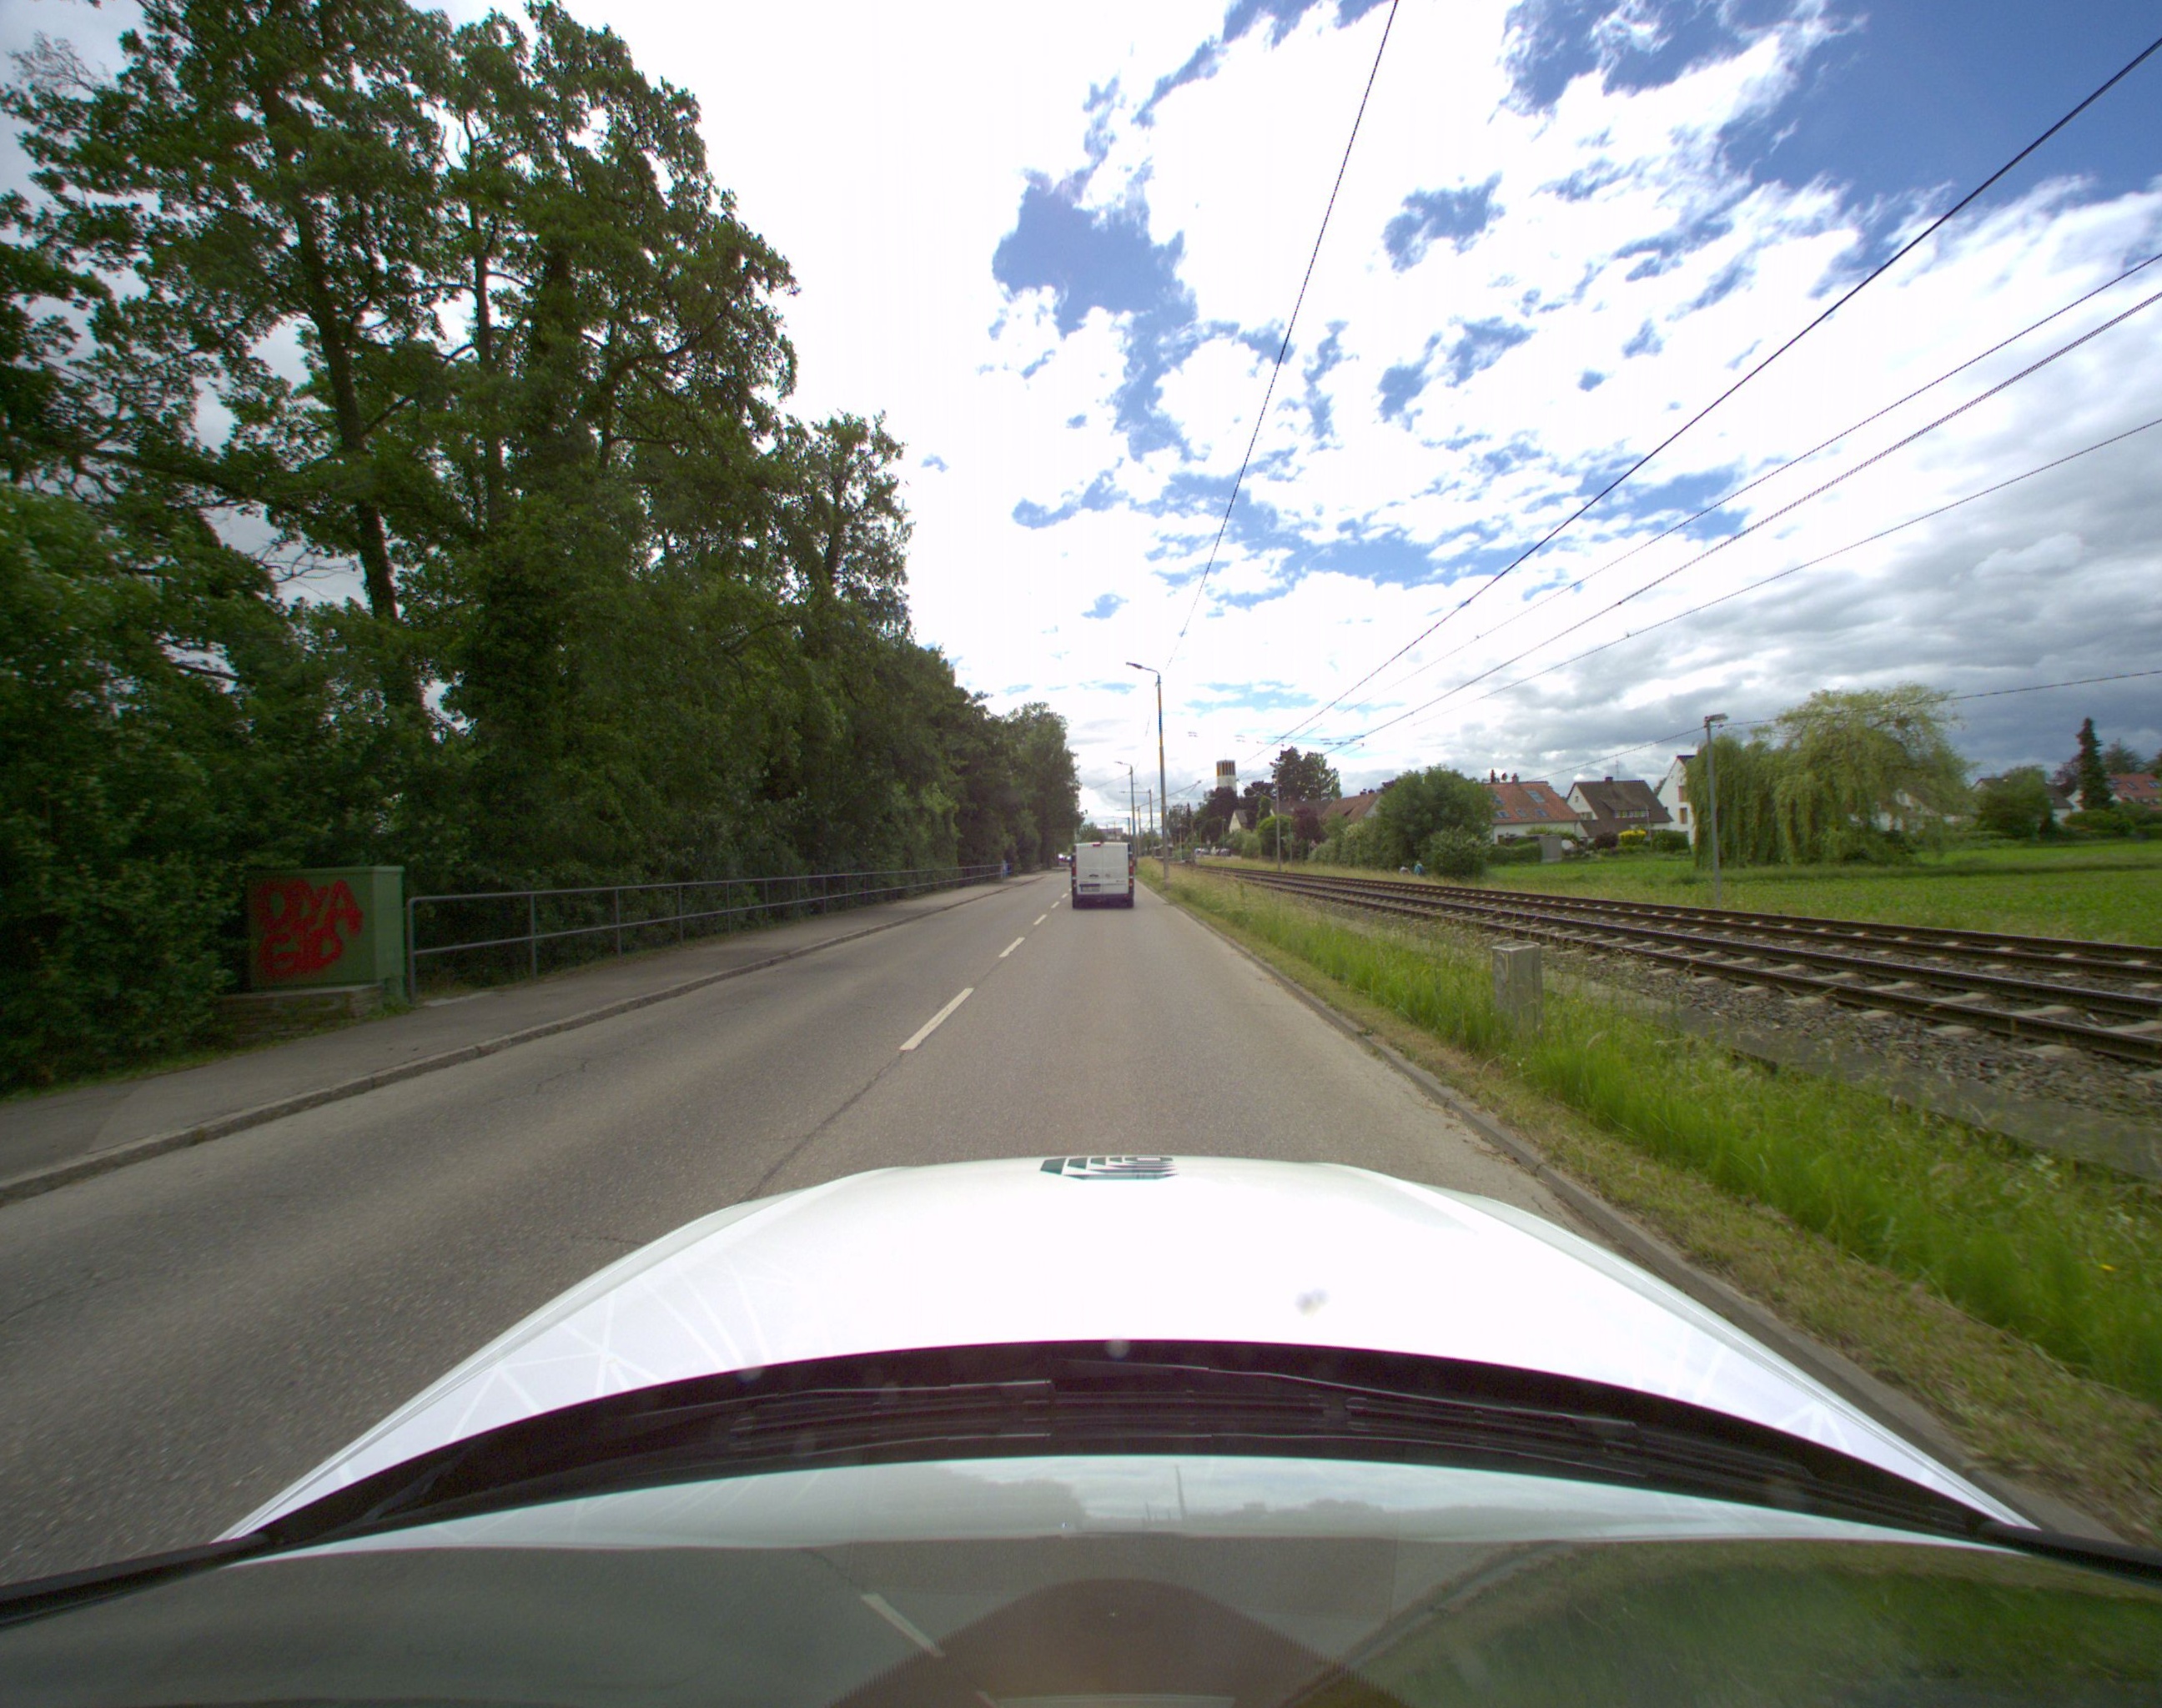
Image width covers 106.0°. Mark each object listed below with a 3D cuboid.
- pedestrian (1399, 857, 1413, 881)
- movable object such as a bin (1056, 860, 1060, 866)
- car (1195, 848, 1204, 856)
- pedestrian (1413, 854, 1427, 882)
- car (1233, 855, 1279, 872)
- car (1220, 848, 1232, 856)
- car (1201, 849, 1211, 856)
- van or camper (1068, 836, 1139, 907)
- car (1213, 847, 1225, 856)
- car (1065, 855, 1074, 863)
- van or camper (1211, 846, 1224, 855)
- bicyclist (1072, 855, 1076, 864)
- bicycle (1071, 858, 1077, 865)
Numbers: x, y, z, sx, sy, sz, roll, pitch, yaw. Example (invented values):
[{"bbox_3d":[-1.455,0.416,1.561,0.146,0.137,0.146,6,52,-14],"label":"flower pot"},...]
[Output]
[{"bbox_3d":[19.359,0.903,48.555,0.595,1.430,0.667,0,-1,2],"label":"pedestrian"},{"bbox_3d":[-3.717,1.445,132.696,0.512,0.945,0.568,-1,0,1],"label":"movable object such as a bin"},{"bbox_3d":[28.868,-0.500,197.711,1.726,1.914,3.936,-1,-1,2],"label":"car"},{"bbox_3d":[20.203,0.828,48.526,0.614,1.622,0.584,0,-1,2],"label":"pedestrian"},{"bbox_3d":[16.085,0.857,75.024,3.964,1.479,1.961,-2,0,8],"label":"car"},{"bbox_3d":[27.873,-0.343,156.562,1.876,1.522,4.003,-2,0,2],"label":"car"},{"bbox_3d":[29.015,-0.337,189.332,1.876,1.522,4.003,-2,0,2],"label":"car"},{"bbox_3d":[0.725,0.531,25.608,1.986,2.014,4.448,-1,-1,2],"label":"van or camper"},{"bbox_3d":[27.564,-0.488,162.732,1.876,1.522,4.003,-2,0,2],"label":"car"},{"bbox_3d":[-2.572,1.079,179.485,1.734,1.505,4.470,-4,0,-5],"label":"car"},{"bbox_3d":[28.007,-0.660,167.446,1.898,1.826,5.051,-2,0,2],"label":"van or camper"},{"bbox_3d":[-1.236,1.016,143.903,0.775,1.549,0.870,-3,0,1],"label":"bicyclist"},{"bbox_3d":[-1.227,1.365,143.754,0.752,1.226,2.309,-4,0,1],"label":"bicycle"}]
